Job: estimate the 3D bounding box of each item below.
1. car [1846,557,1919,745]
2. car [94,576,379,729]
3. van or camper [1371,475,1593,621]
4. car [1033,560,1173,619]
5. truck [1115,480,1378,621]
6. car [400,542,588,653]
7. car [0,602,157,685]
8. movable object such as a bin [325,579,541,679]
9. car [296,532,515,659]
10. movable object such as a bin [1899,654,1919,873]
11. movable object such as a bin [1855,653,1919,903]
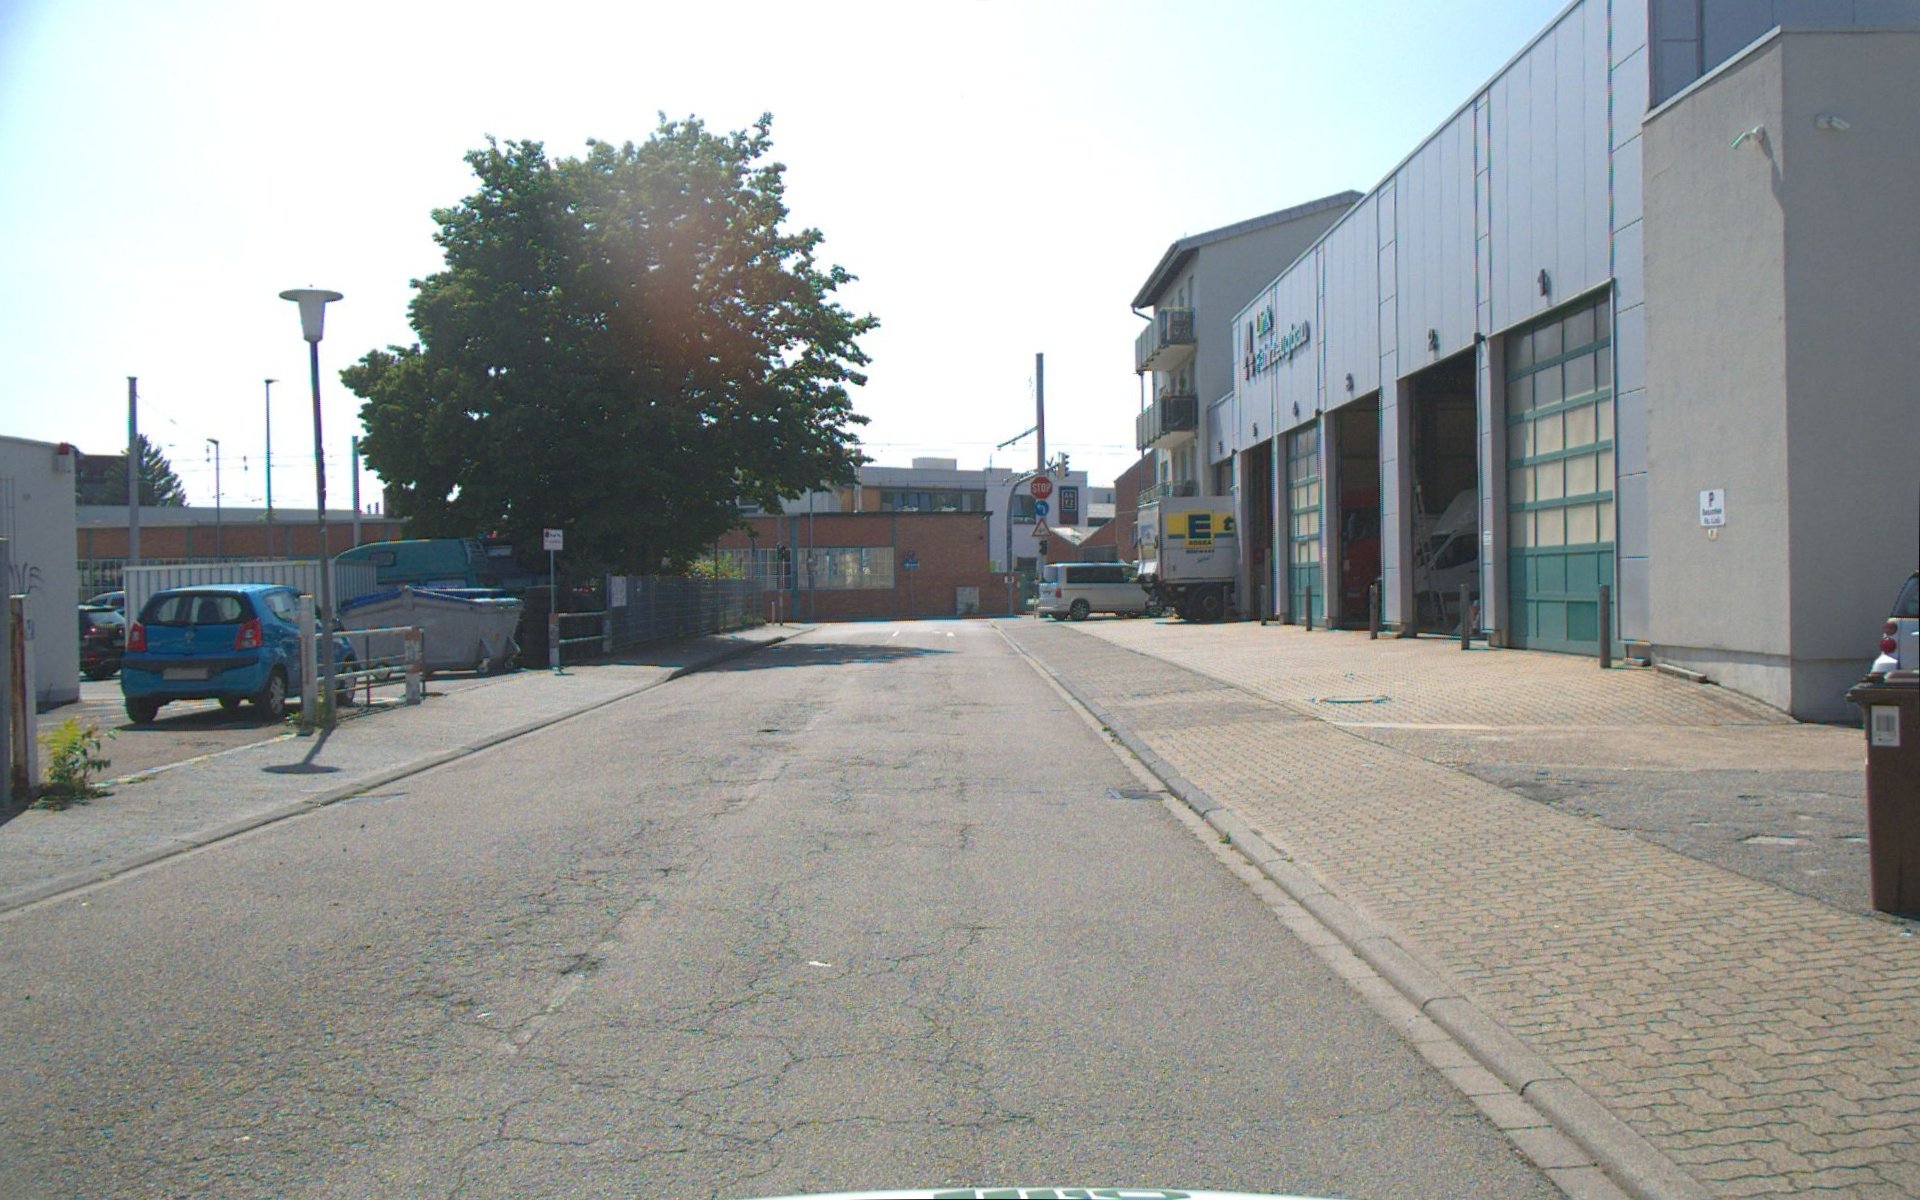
[{"bbox_3d":[9.434,0.371,14.957,1.746,1.566,3.682,-1,1,41],"label":"car"},{"bbox_3d":[-8.316,0.543,19.383,1.778,1.557,3.674,-2,0,-2],"label":"car"},{"bbox_3d":[12.472,-1.237,39.699,4.662,3.346,1.998,-1,0,-4],"label":"van or camper"},{"bbox_3d":[5.066,-0.388,58.764,4.585,1.992,1.905,-1,0,-20],"label":"car"},{"bbox_3d":[8.660,-1.508,50.402,7.220,3.708,2.764,-4,1,-7],"label":"truck"},{"bbox_3d":[-11.178,-0.075,39.893,4.003,2.557,1.776,-1,0,-3],"label":"car"},{"bbox_3d":[-18.178,0.858,32.339,4.056,1.480,1.754,-2,1,3],"label":"car"},{"bbox_3d":[-8.830,0.455,27.956,2.571,1.536,2.730,-2,1,5],"label":"movable object such as a bin"},{"bbox_3d":[-11.694,-0.105,35.061,4.003,2.557,1.776,-1,0,-3],"label":"car"},{"bbox_3d":[4.490,0.724,7.248,0.502,0.962,0.488,-2,0,11],"label":"movable object such as a bin"},{"bbox_3d":[3.992,0.710,6.735,0.557,0.962,0.556,-1,0,33],"label":"movable object such as a bin"}]
